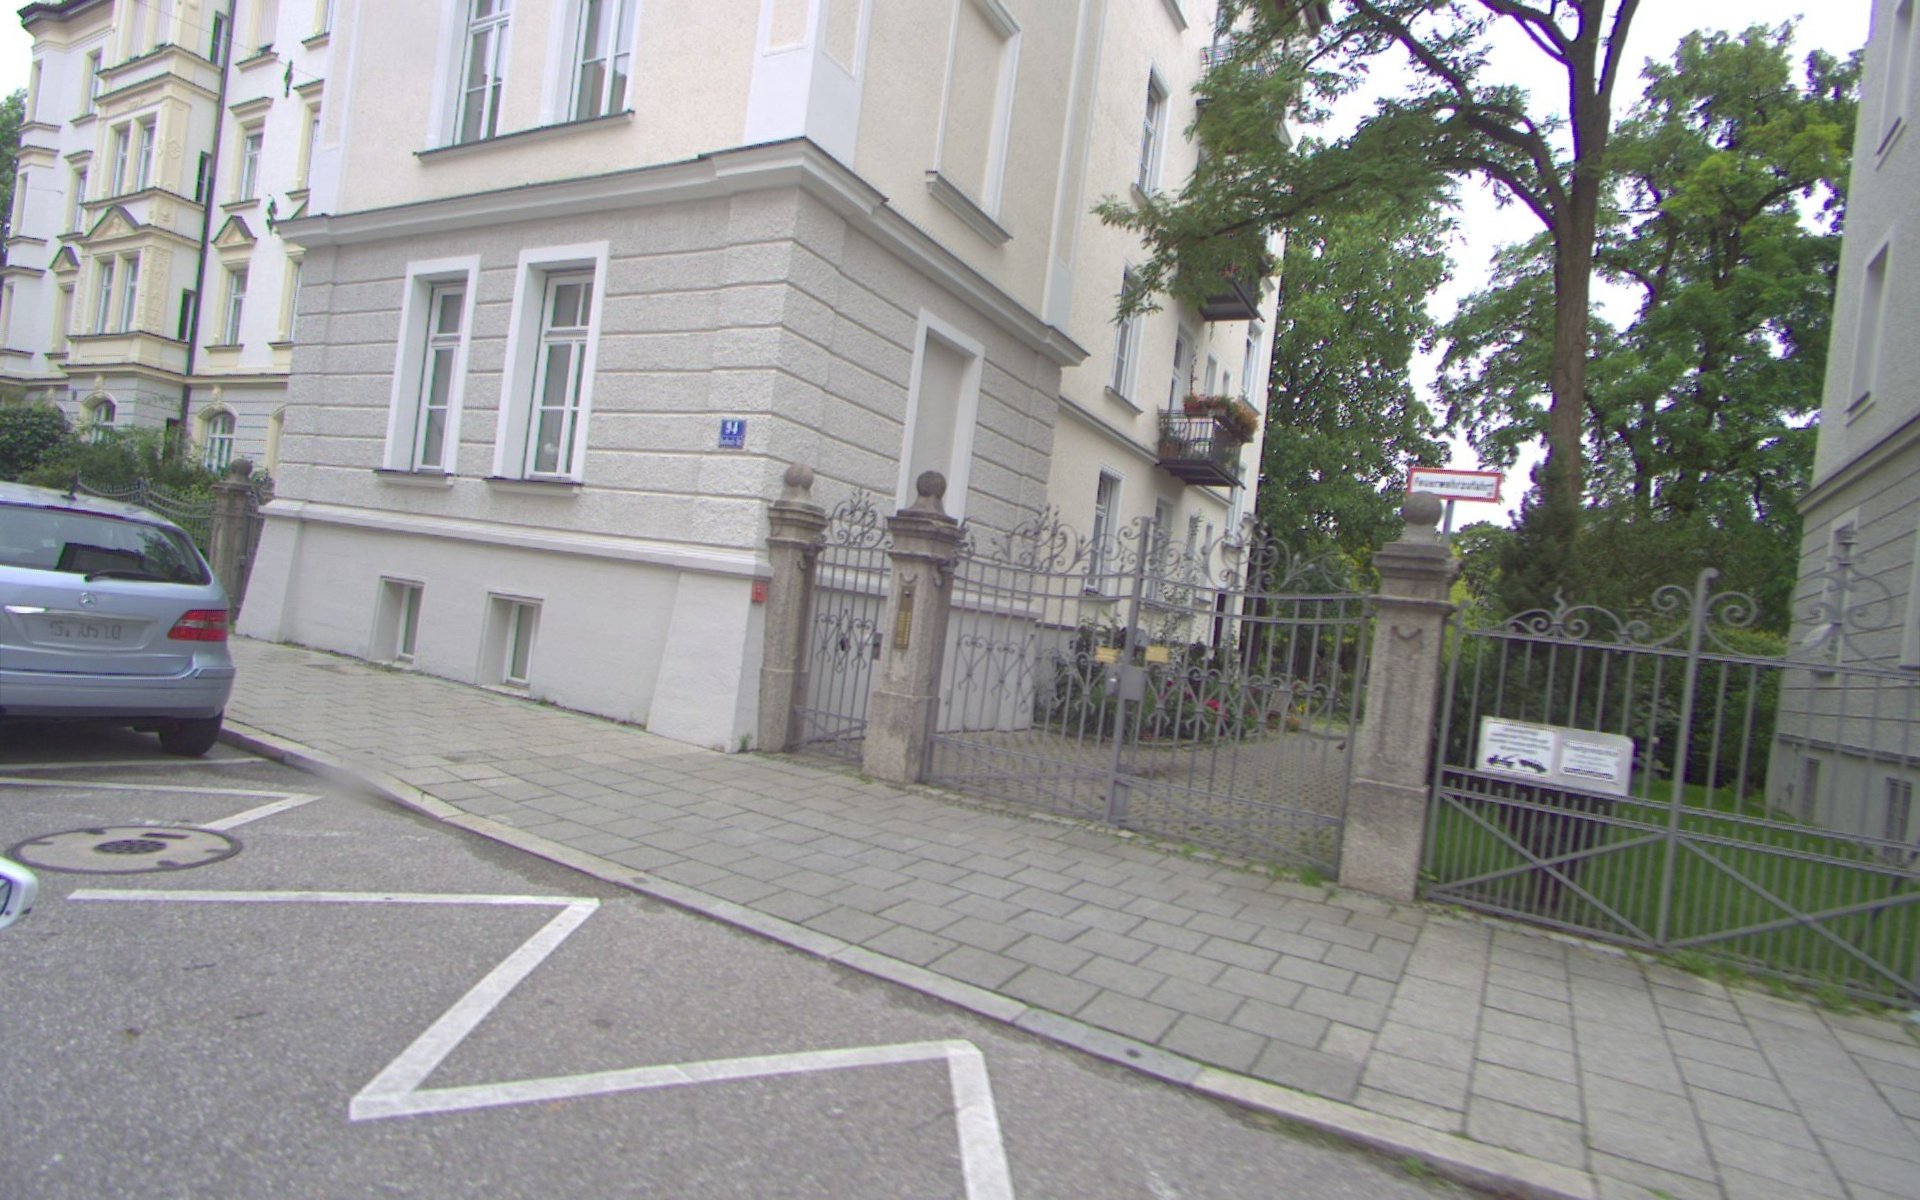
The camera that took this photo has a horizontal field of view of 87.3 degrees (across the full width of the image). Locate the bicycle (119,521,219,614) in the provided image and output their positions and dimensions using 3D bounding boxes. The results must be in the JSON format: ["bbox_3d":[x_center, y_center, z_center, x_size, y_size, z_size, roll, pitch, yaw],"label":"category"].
[{"bbox_3d":[-11.441,-0.483,14.525,1.850,1.139,0.435,7,0,32],"label":"bicycle"}]

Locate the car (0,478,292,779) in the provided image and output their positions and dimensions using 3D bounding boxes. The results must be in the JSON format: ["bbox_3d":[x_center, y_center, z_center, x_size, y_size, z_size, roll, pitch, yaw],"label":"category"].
[{"bbox_3d":[-6.623,-0.008,6.863,4.331,1.586,1.825,7,-3,35],"label":"car"}]
